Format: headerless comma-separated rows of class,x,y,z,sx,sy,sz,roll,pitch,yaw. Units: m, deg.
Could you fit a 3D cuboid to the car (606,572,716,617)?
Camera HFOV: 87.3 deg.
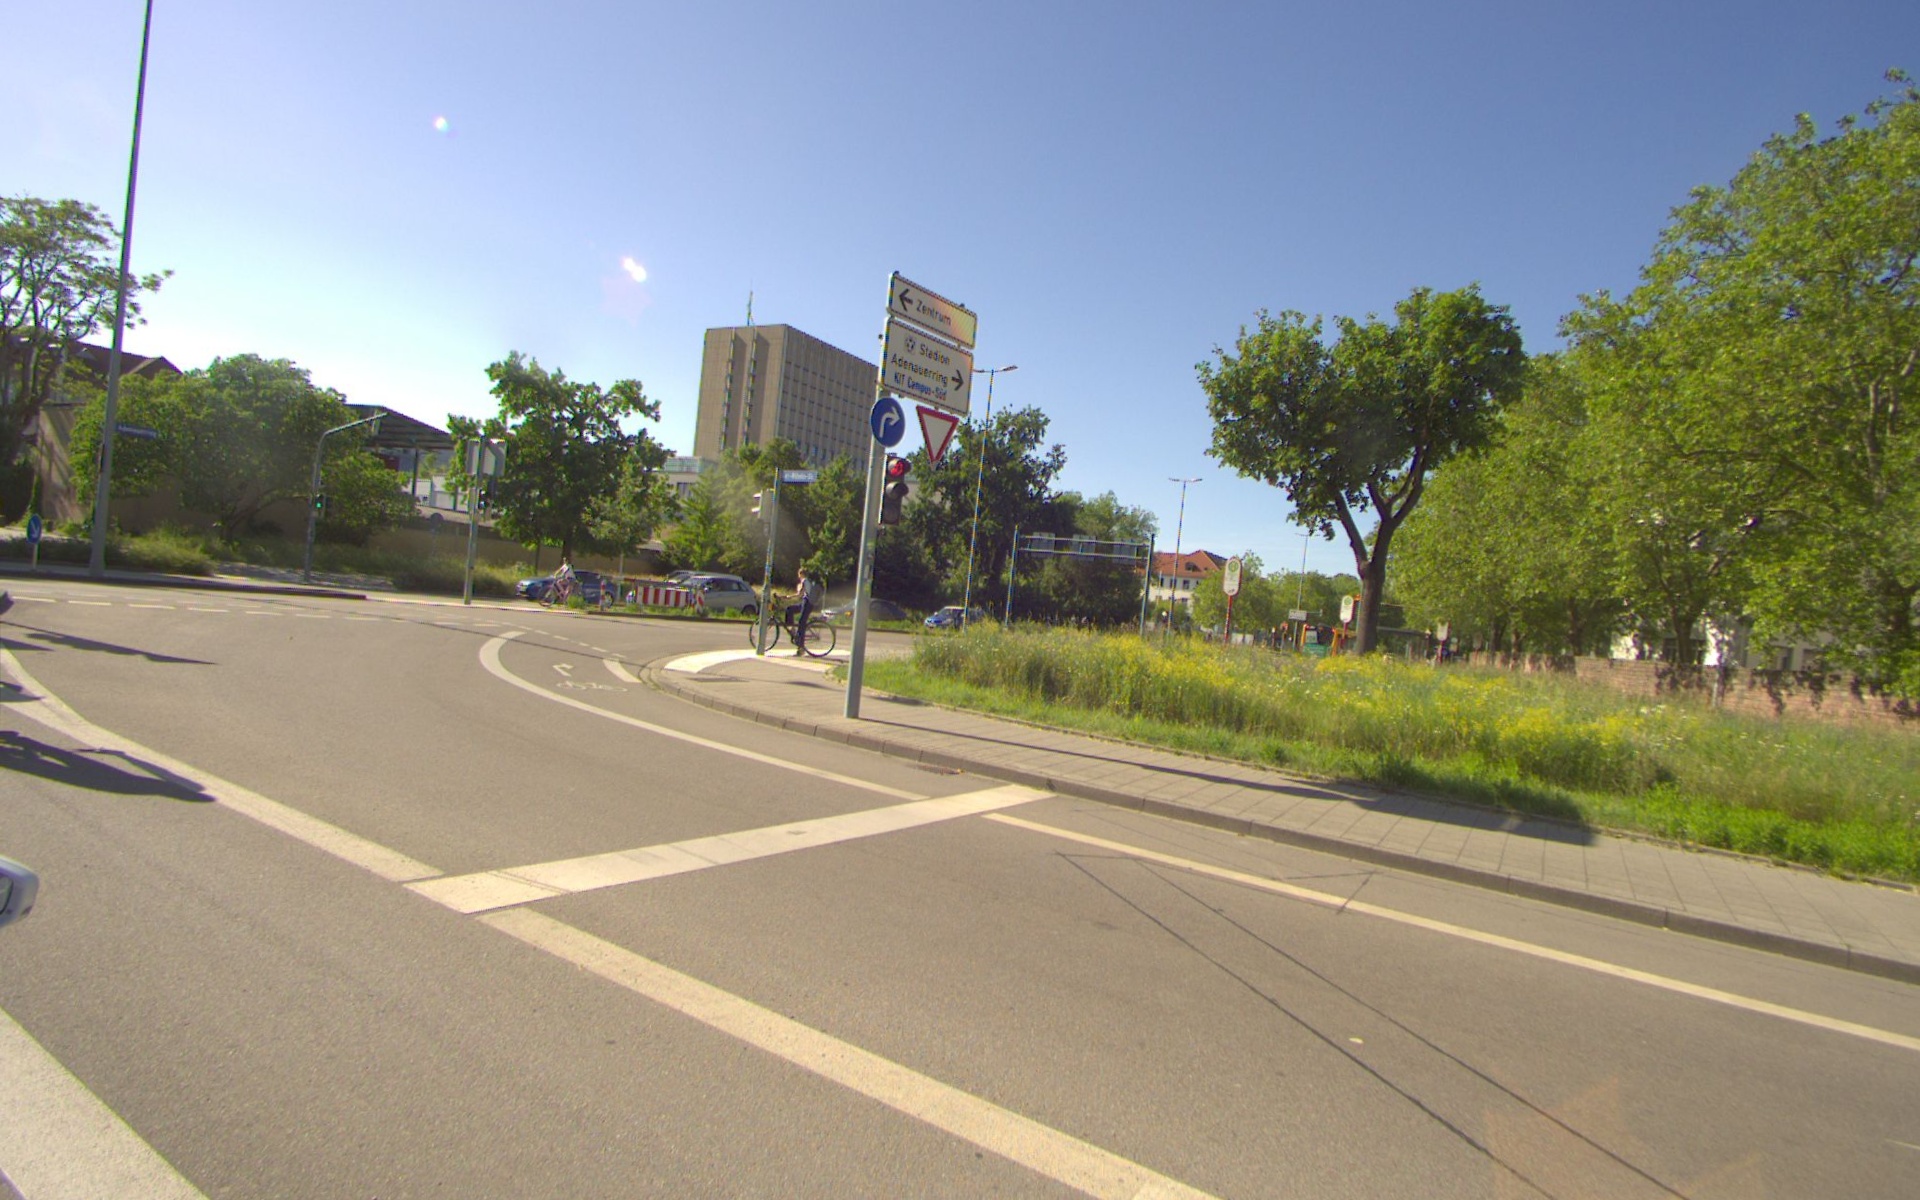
car,-12.303,-0.201,41.565,1.767,1.415,3.986,7,0,37

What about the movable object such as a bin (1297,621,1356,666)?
movable object such as a bin,28.122,3.405,76.912,2.954,2.898,9.178,6,0,27

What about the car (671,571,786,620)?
car,-8.743,-0.132,38.283,1.767,1.415,3.986,7,0,37

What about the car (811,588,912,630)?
car,-4.313,0.434,44.625,1.767,1.415,4.557,7,0,37

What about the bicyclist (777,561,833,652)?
bicyclist,-3.039,0.123,19.700,0.898,1.667,0.630,6,1,-9

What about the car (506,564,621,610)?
car,-16.214,-0.527,41.312,1.767,1.415,3.986,7,0,37

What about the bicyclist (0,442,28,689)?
bicyclist,-6.595,-0.143,6.310,1.123,1.813,0.684,7,0,32

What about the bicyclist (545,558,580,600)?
bicyclist,-13.938,-0.724,35.276,0.602,1.360,0.874,7,1,37

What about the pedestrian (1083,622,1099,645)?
pedestrian,12.440,3.168,95.379,0.752,2.039,1.267,7,1,36

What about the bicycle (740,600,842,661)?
bicycle,-3.293,0.590,19.672,1.856,0.970,0.635,7,1,-10

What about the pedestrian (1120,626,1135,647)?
pedestrian,16.657,3.633,99.938,0.752,2.039,1.267,7,1,36

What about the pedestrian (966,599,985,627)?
pedestrian,1.229,1.044,79.245,0.752,2.039,1.267,7,1,36

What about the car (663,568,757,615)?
car,-11.847,-0.368,47.790,1.767,1.771,3.986,7,0,37

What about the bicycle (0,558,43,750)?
bicycle,-6.567,0.233,6.269,1.890,1.102,0.690,6,-1,32

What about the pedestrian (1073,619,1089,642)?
pedestrian,11.116,2.790,92.405,0.752,2.039,1.267,7,1,36

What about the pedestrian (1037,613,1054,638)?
pedestrian,7.459,2.182,87.439,0.752,2.039,1.267,7,1,36

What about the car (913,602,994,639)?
car,-0.299,1.048,50.452,1.916,1.415,3.986,6,0,37

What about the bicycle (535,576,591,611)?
bicycle,-13.940,-0.229,35.353,0.602,1.046,1.681,7,0,37
